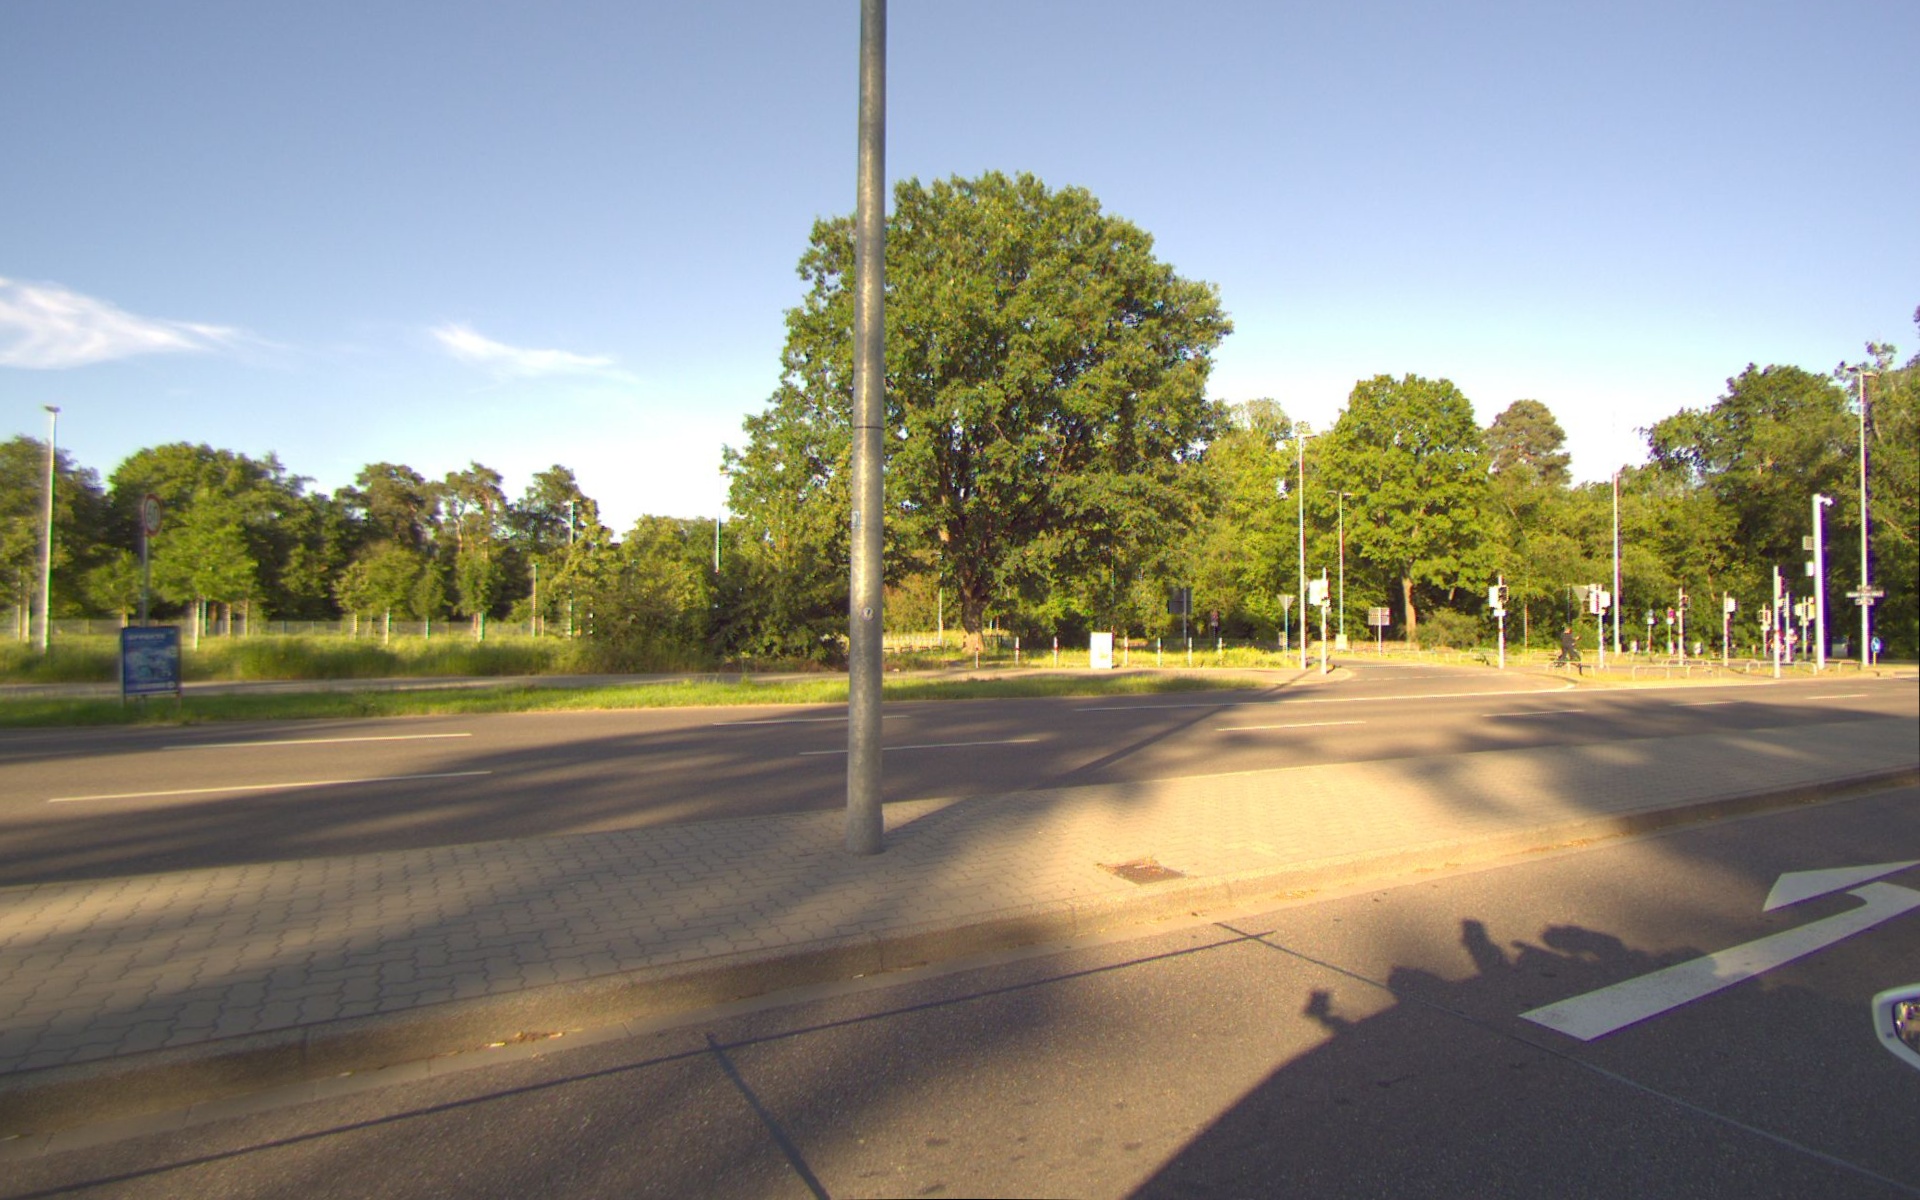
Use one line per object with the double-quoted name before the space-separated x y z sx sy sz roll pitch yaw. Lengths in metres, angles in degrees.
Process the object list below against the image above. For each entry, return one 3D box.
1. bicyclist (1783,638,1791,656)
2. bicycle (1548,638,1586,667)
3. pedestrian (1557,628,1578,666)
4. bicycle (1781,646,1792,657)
"bicyclist" 44.287 2.515 53.801 0.238 0.975 0.271 2 0 -34
"bicycle" 25.765 2.236 42.607 1.980 1.193 0.466 2 0 -31
"pedestrian" 25.768 1.974 42.621 0.641 1.583 0.479 2 0 -30
"bicycle" 44.251 2.744 53.776 0.831 0.589 0.264 2 0 -36
